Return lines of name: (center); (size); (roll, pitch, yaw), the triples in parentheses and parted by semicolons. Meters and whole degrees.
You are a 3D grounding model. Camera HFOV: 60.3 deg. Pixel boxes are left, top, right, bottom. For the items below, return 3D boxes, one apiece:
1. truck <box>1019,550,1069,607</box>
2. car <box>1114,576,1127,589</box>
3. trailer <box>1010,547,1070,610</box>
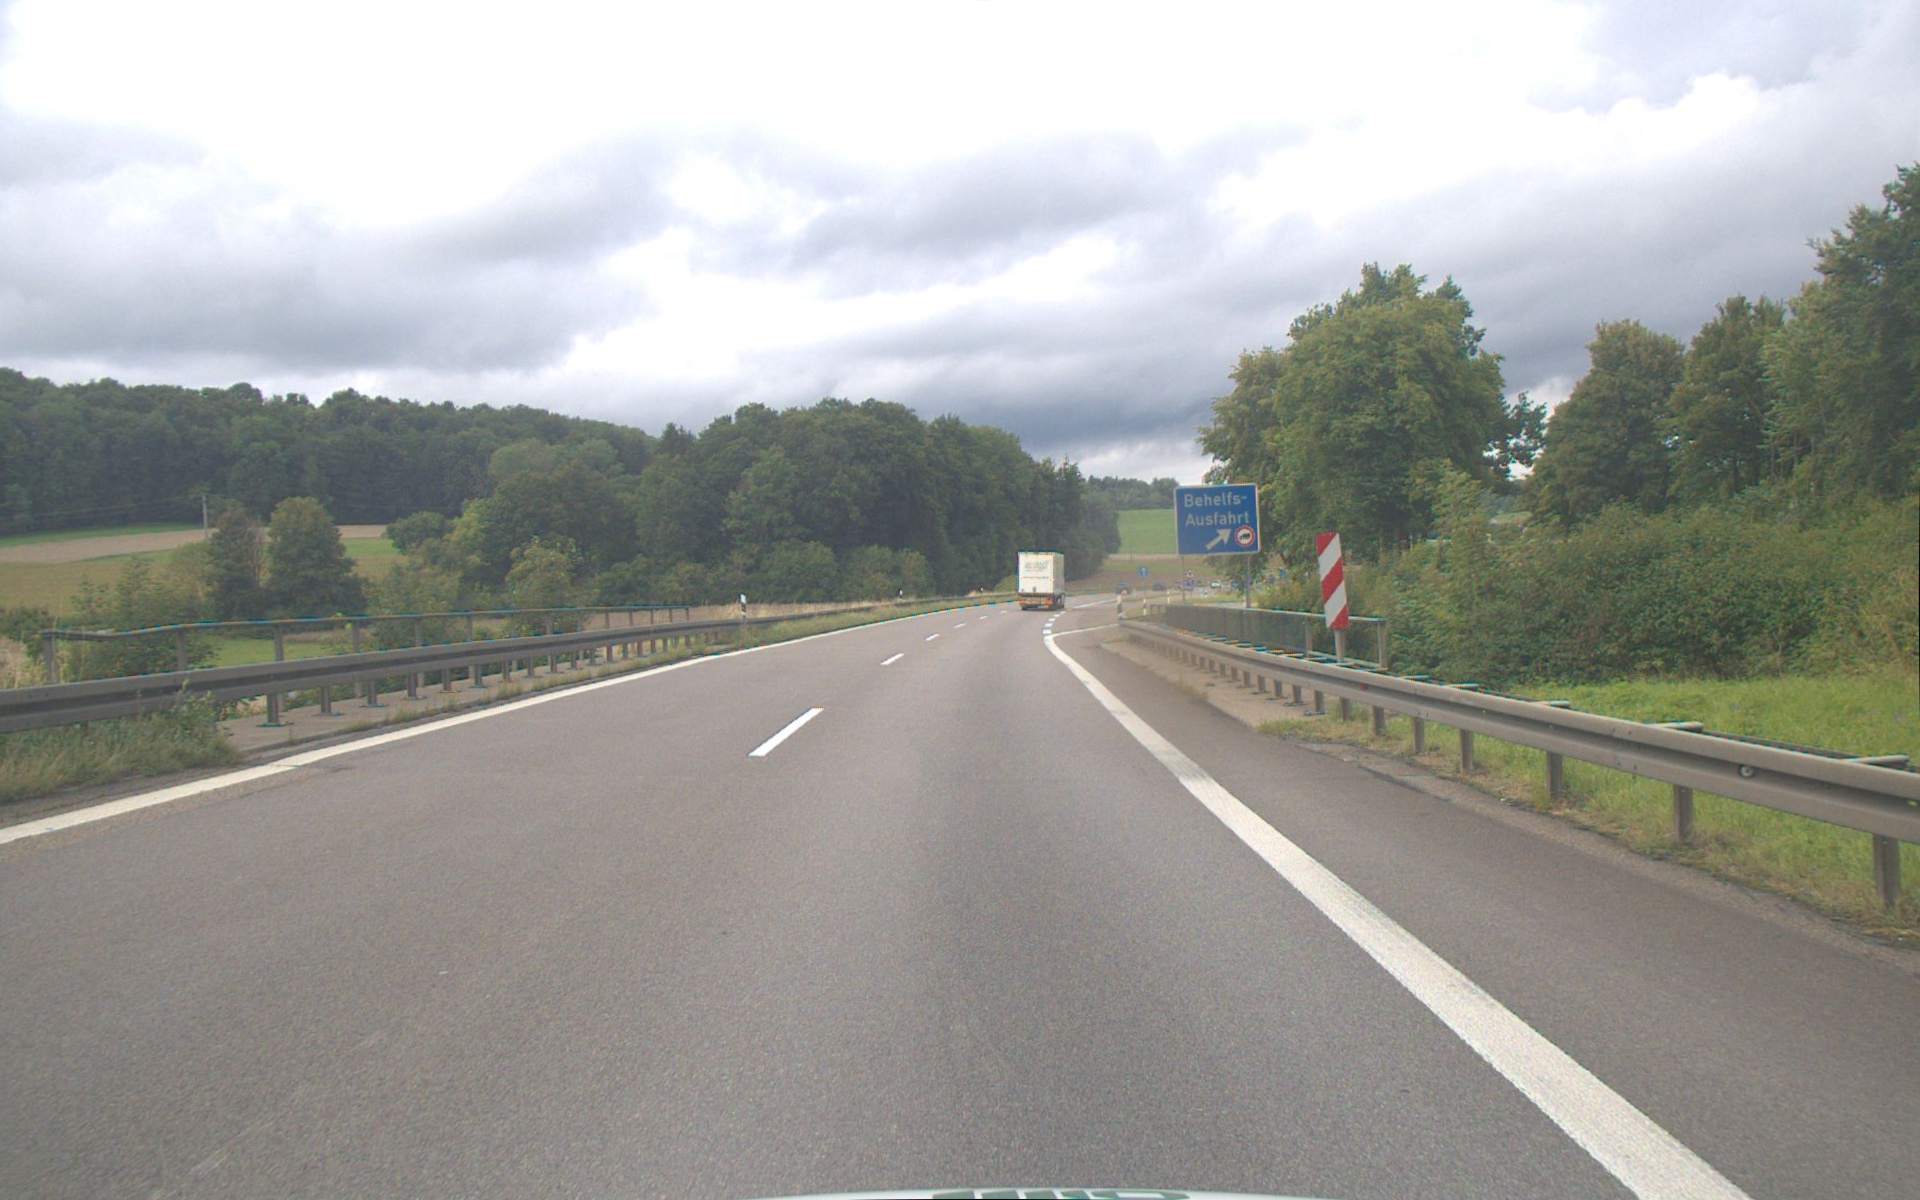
truck: (6.521, -1.685, 127.211); (3.708, 4.204, 8.269); (0, 1, 4)
car: (23.543, -2.623, 242.899); (1.862, 1.827, 4.003); (0, -1, 7)
trailer: (5.902, -1.569, 119.596); (3.725, 4.247, 14.817); (1, 1, 5)
